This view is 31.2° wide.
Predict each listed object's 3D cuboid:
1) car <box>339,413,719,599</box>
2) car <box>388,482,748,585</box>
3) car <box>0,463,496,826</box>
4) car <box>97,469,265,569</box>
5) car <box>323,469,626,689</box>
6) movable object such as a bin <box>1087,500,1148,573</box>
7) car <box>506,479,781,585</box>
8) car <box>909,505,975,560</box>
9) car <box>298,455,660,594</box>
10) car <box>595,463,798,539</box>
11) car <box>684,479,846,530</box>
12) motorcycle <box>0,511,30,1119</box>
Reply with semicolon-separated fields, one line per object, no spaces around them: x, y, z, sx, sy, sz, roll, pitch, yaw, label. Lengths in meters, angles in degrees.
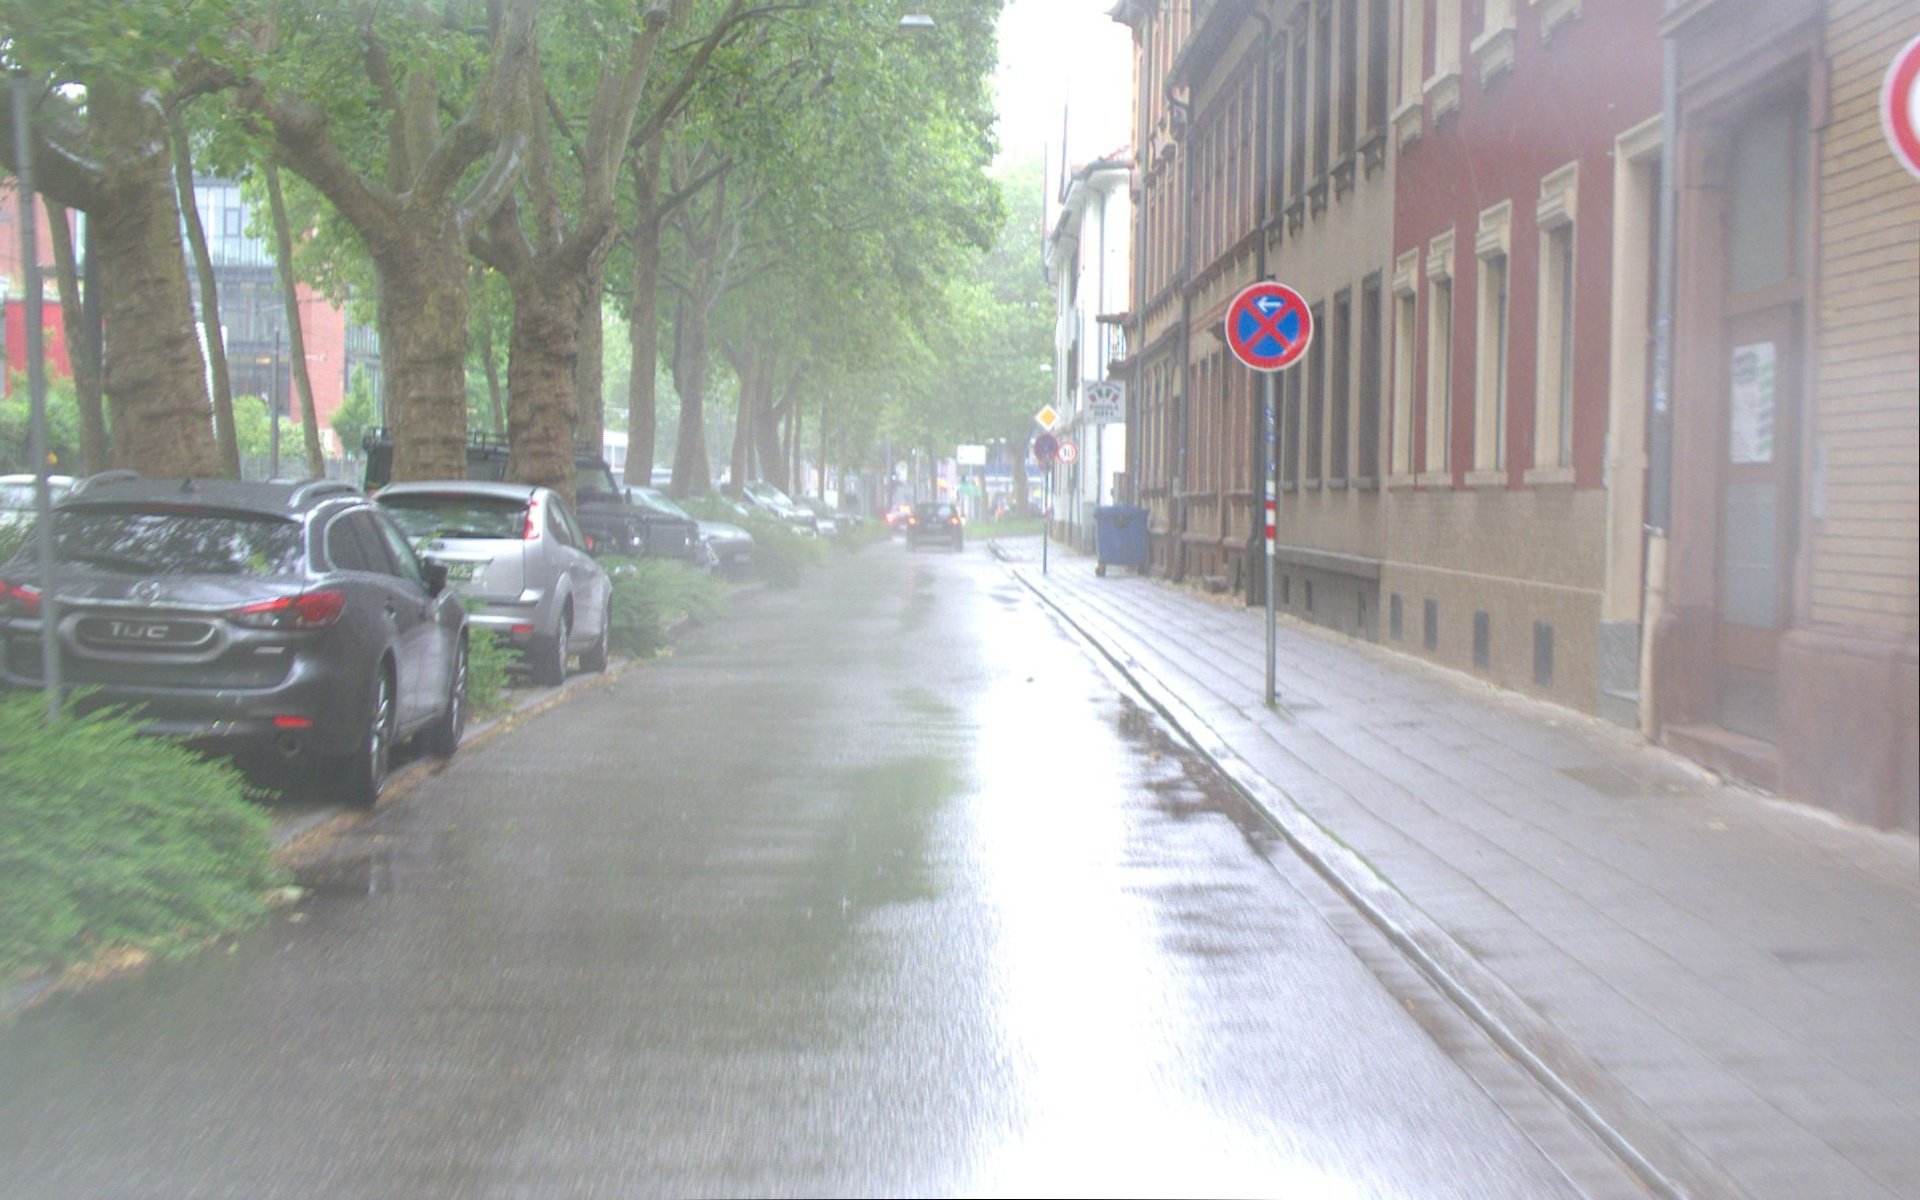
-5.560;-1.238;44.160;4.654;2.275;2.008;2;2;33;car
-5.365;-0.931;46.946;4.652;1.321;1.844;1;2;27;car
-3.562;0.103;16.982;1.896;1.480;4.622;2;2;0;car
-12.783;-1.361;56.611;1.904;1.528;4.216;1;2;-2;car
-3.678;-0.229;26.689;1.729;1.509;4.208;2;2;0;car
2.946;-1.198;64.472;1.021;1.297;1.367;-2;3;0;movable object such as a bin
-5.101;-1.113;55.268;4.059;1.532;1.832;3;3;30;car
-0.577;-2.135;107.845;1.993;1.634;4.000;2;2;-1;car
-5.206;-0.843;37.205;3.497;1.431;1.779;1;2;27;car
-7.039;-2.644;91.623;5.124;1.970;2.099;1;2;31;car
-5.739;-2.798;101.009;4.554;1.477;1.772;1;2;30;car
-3.345;0.484;8.912;2.108;1.495;0.769;3;2;43;motorcycle
